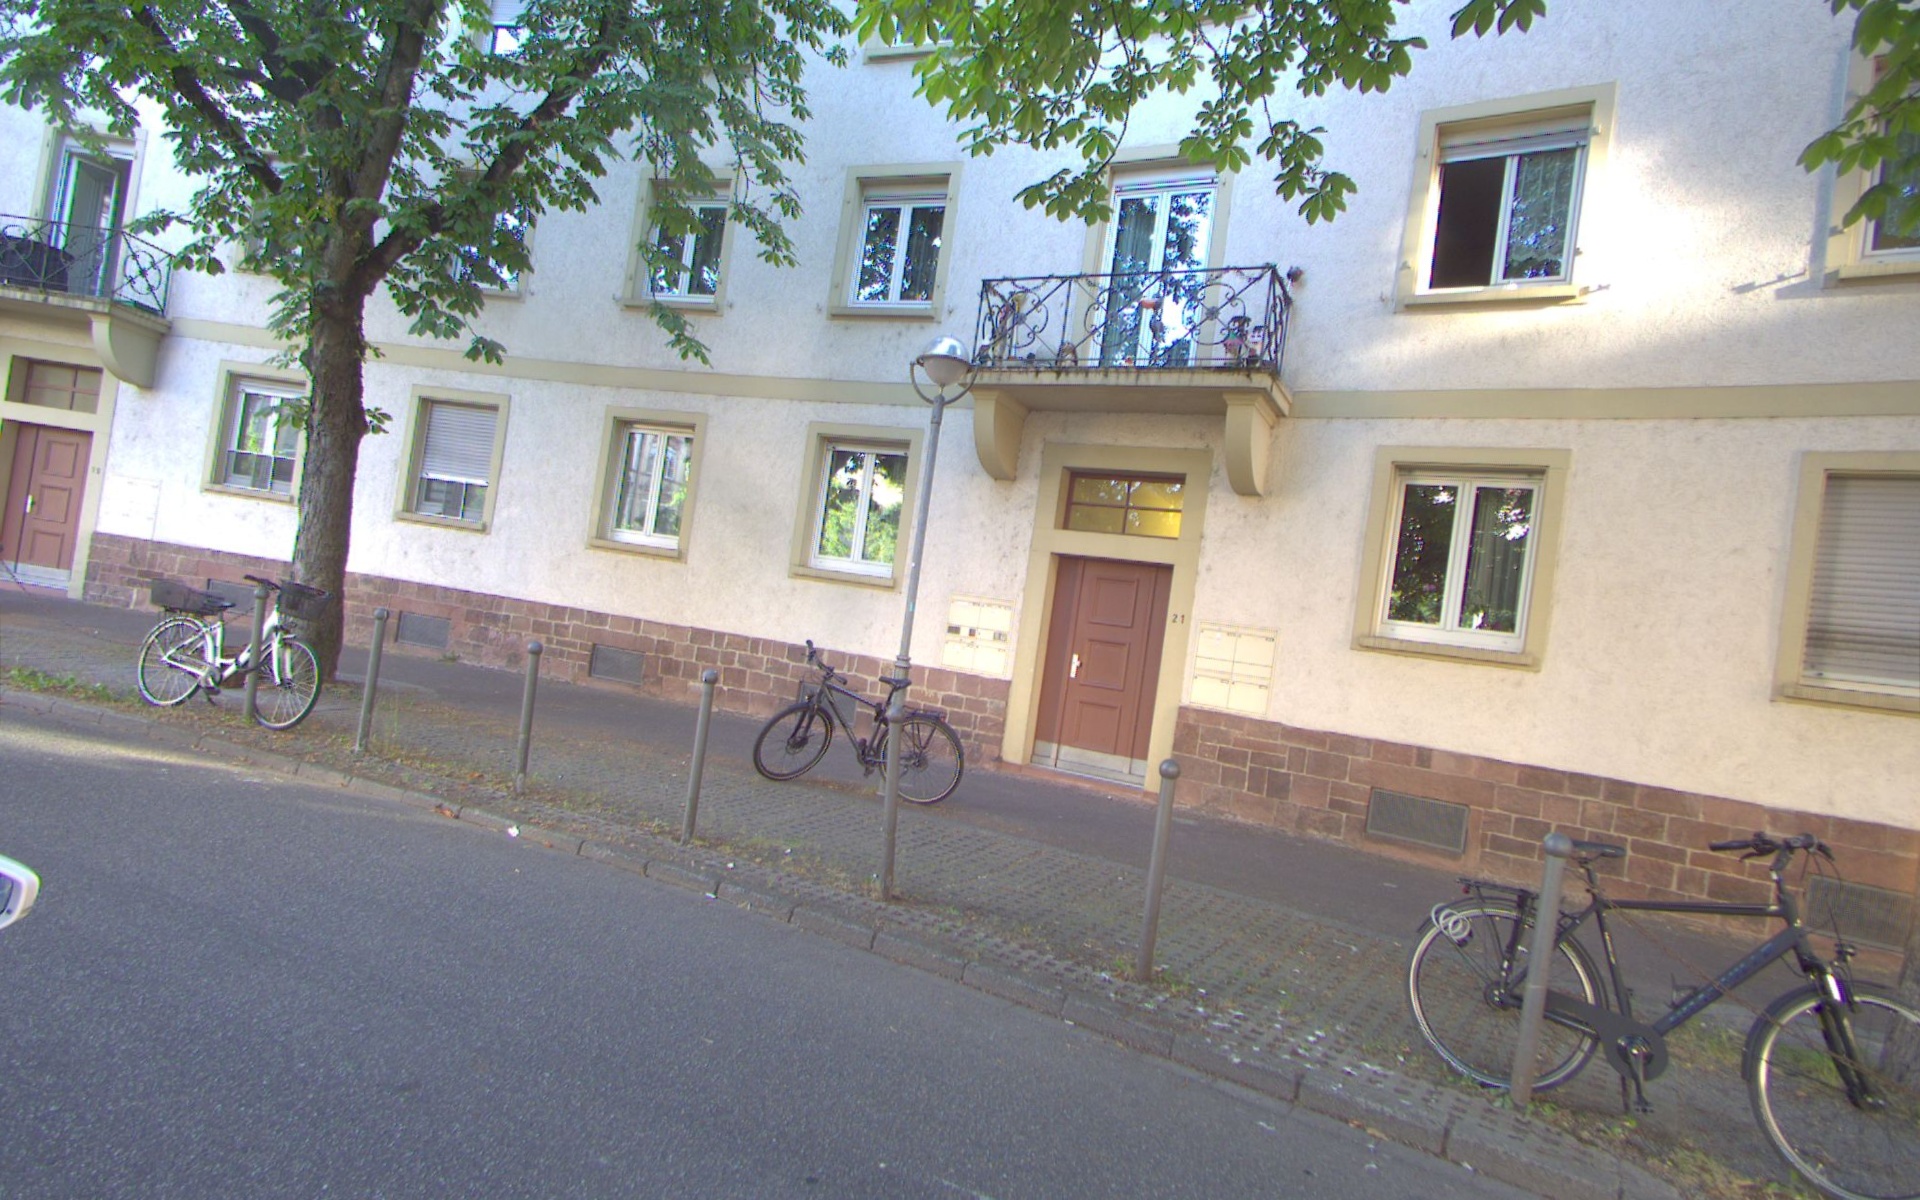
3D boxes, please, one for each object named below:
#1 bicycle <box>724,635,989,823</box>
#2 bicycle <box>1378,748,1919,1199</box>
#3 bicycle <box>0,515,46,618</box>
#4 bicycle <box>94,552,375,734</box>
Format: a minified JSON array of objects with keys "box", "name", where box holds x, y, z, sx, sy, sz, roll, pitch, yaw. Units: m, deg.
[{"box":[-0.787,0.987,7.993,1.823,1.131,0.804,8,-1,8],"name":"bicycle"},{"box":[2.635,1.327,3.634,1.881,1.237,0.719,7,-1,29],"name":"bicycle"},{"box":[-11.698,-0.510,11.566,1.929,1.120,0.670,8,-2,13],"name":"bicycle"},{"box":[-5.646,0.319,7.833,1.936,1.109,0.514,8,0,12],"name":"bicycle"}]
